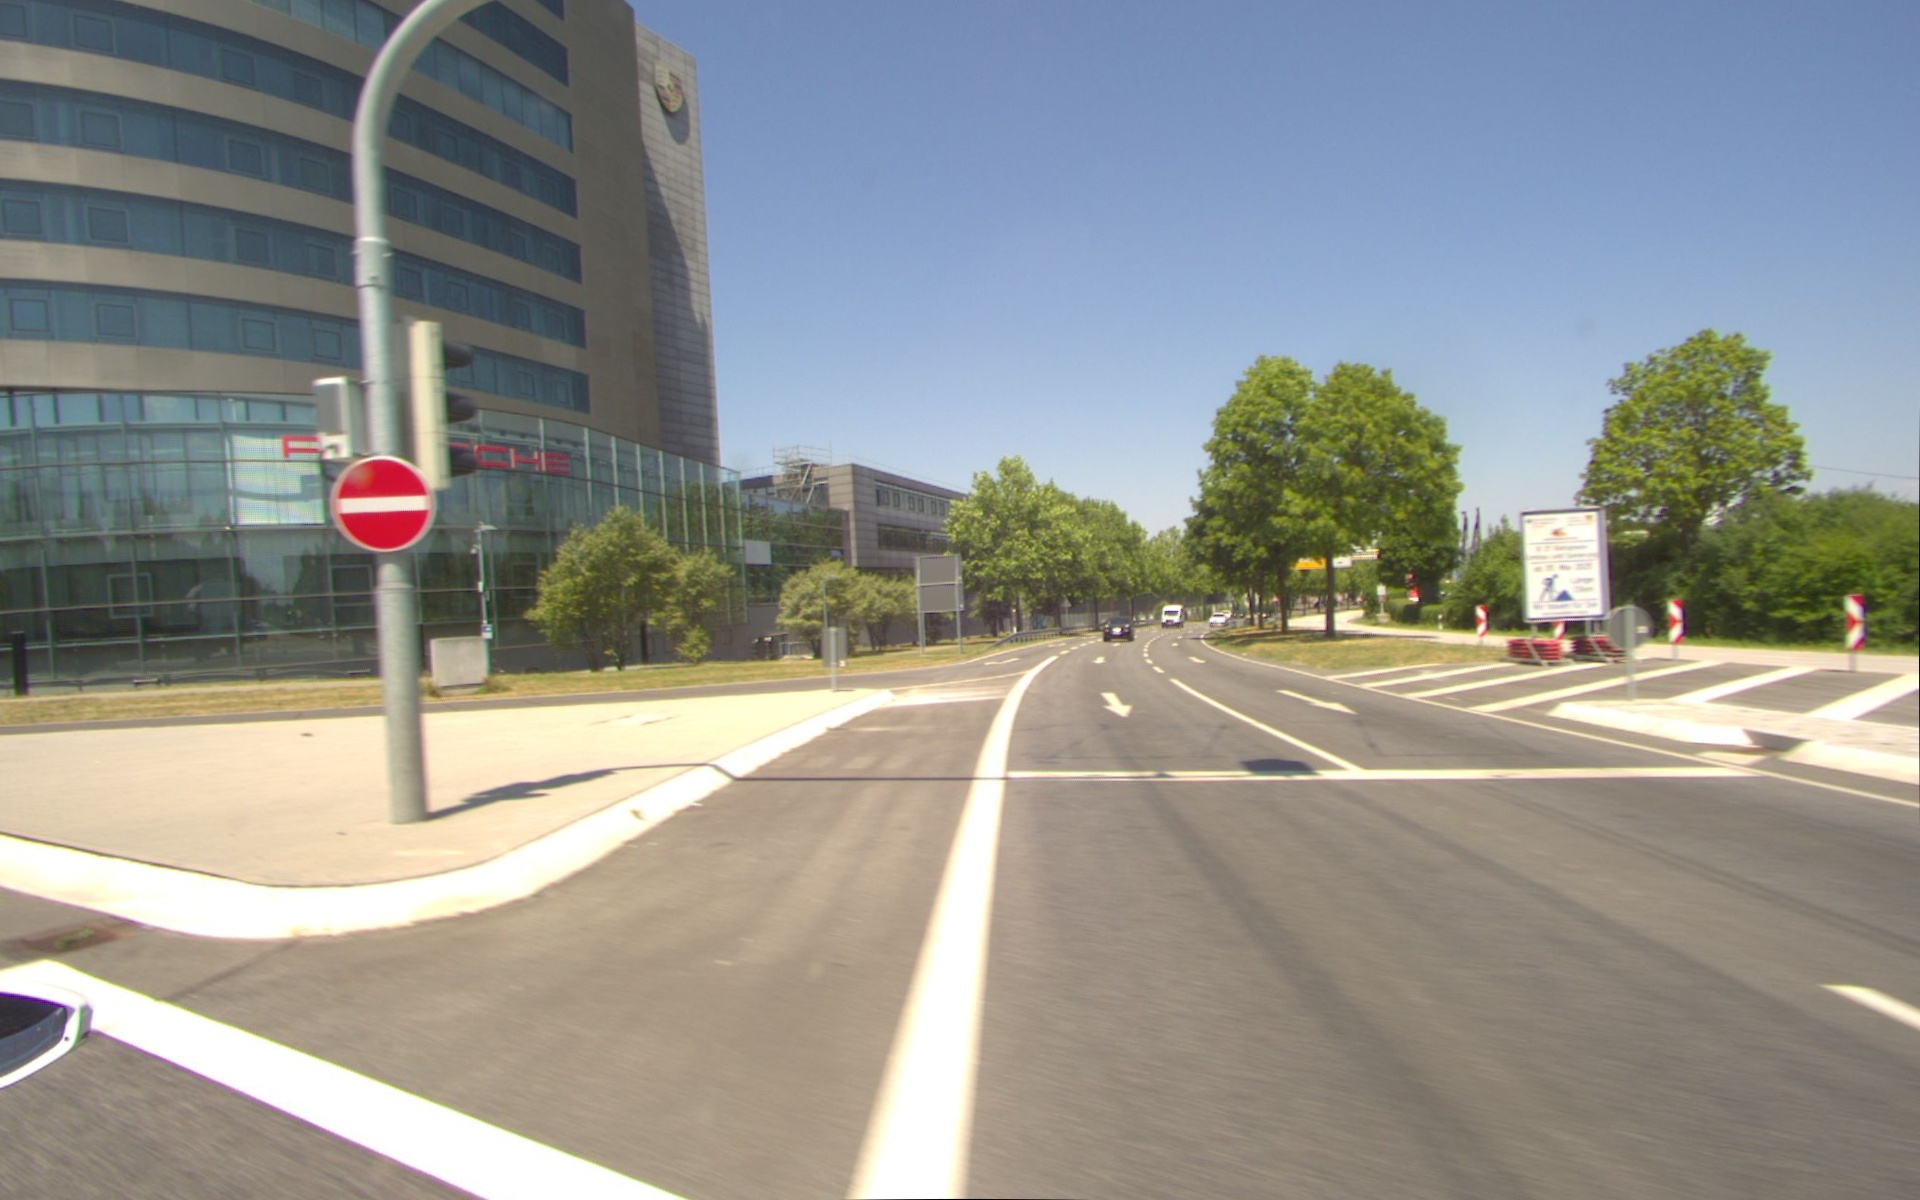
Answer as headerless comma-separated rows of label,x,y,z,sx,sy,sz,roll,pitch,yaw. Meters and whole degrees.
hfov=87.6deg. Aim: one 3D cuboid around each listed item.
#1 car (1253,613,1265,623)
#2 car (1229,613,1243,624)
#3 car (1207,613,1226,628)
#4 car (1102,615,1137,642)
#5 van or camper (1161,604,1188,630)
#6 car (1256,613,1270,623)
car,54.134,3.194,181.208,1.709,1.683,3.989,-2,-1,24
car,46.096,3.107,167.059,1.709,1.683,3.989,-2,-1,24
car,30.753,2.451,120.112,1.708,1.683,3.991,-2,-1,21
car,10.046,1.768,62.855,1.637,1.610,3.995,-2,-1,16
van or camper,23.665,1.892,110.471,1.969,2.717,3.985,-2,-1,26
car,50.990,3.008,168.394,1.709,1.683,3.989,-2,-1,24
